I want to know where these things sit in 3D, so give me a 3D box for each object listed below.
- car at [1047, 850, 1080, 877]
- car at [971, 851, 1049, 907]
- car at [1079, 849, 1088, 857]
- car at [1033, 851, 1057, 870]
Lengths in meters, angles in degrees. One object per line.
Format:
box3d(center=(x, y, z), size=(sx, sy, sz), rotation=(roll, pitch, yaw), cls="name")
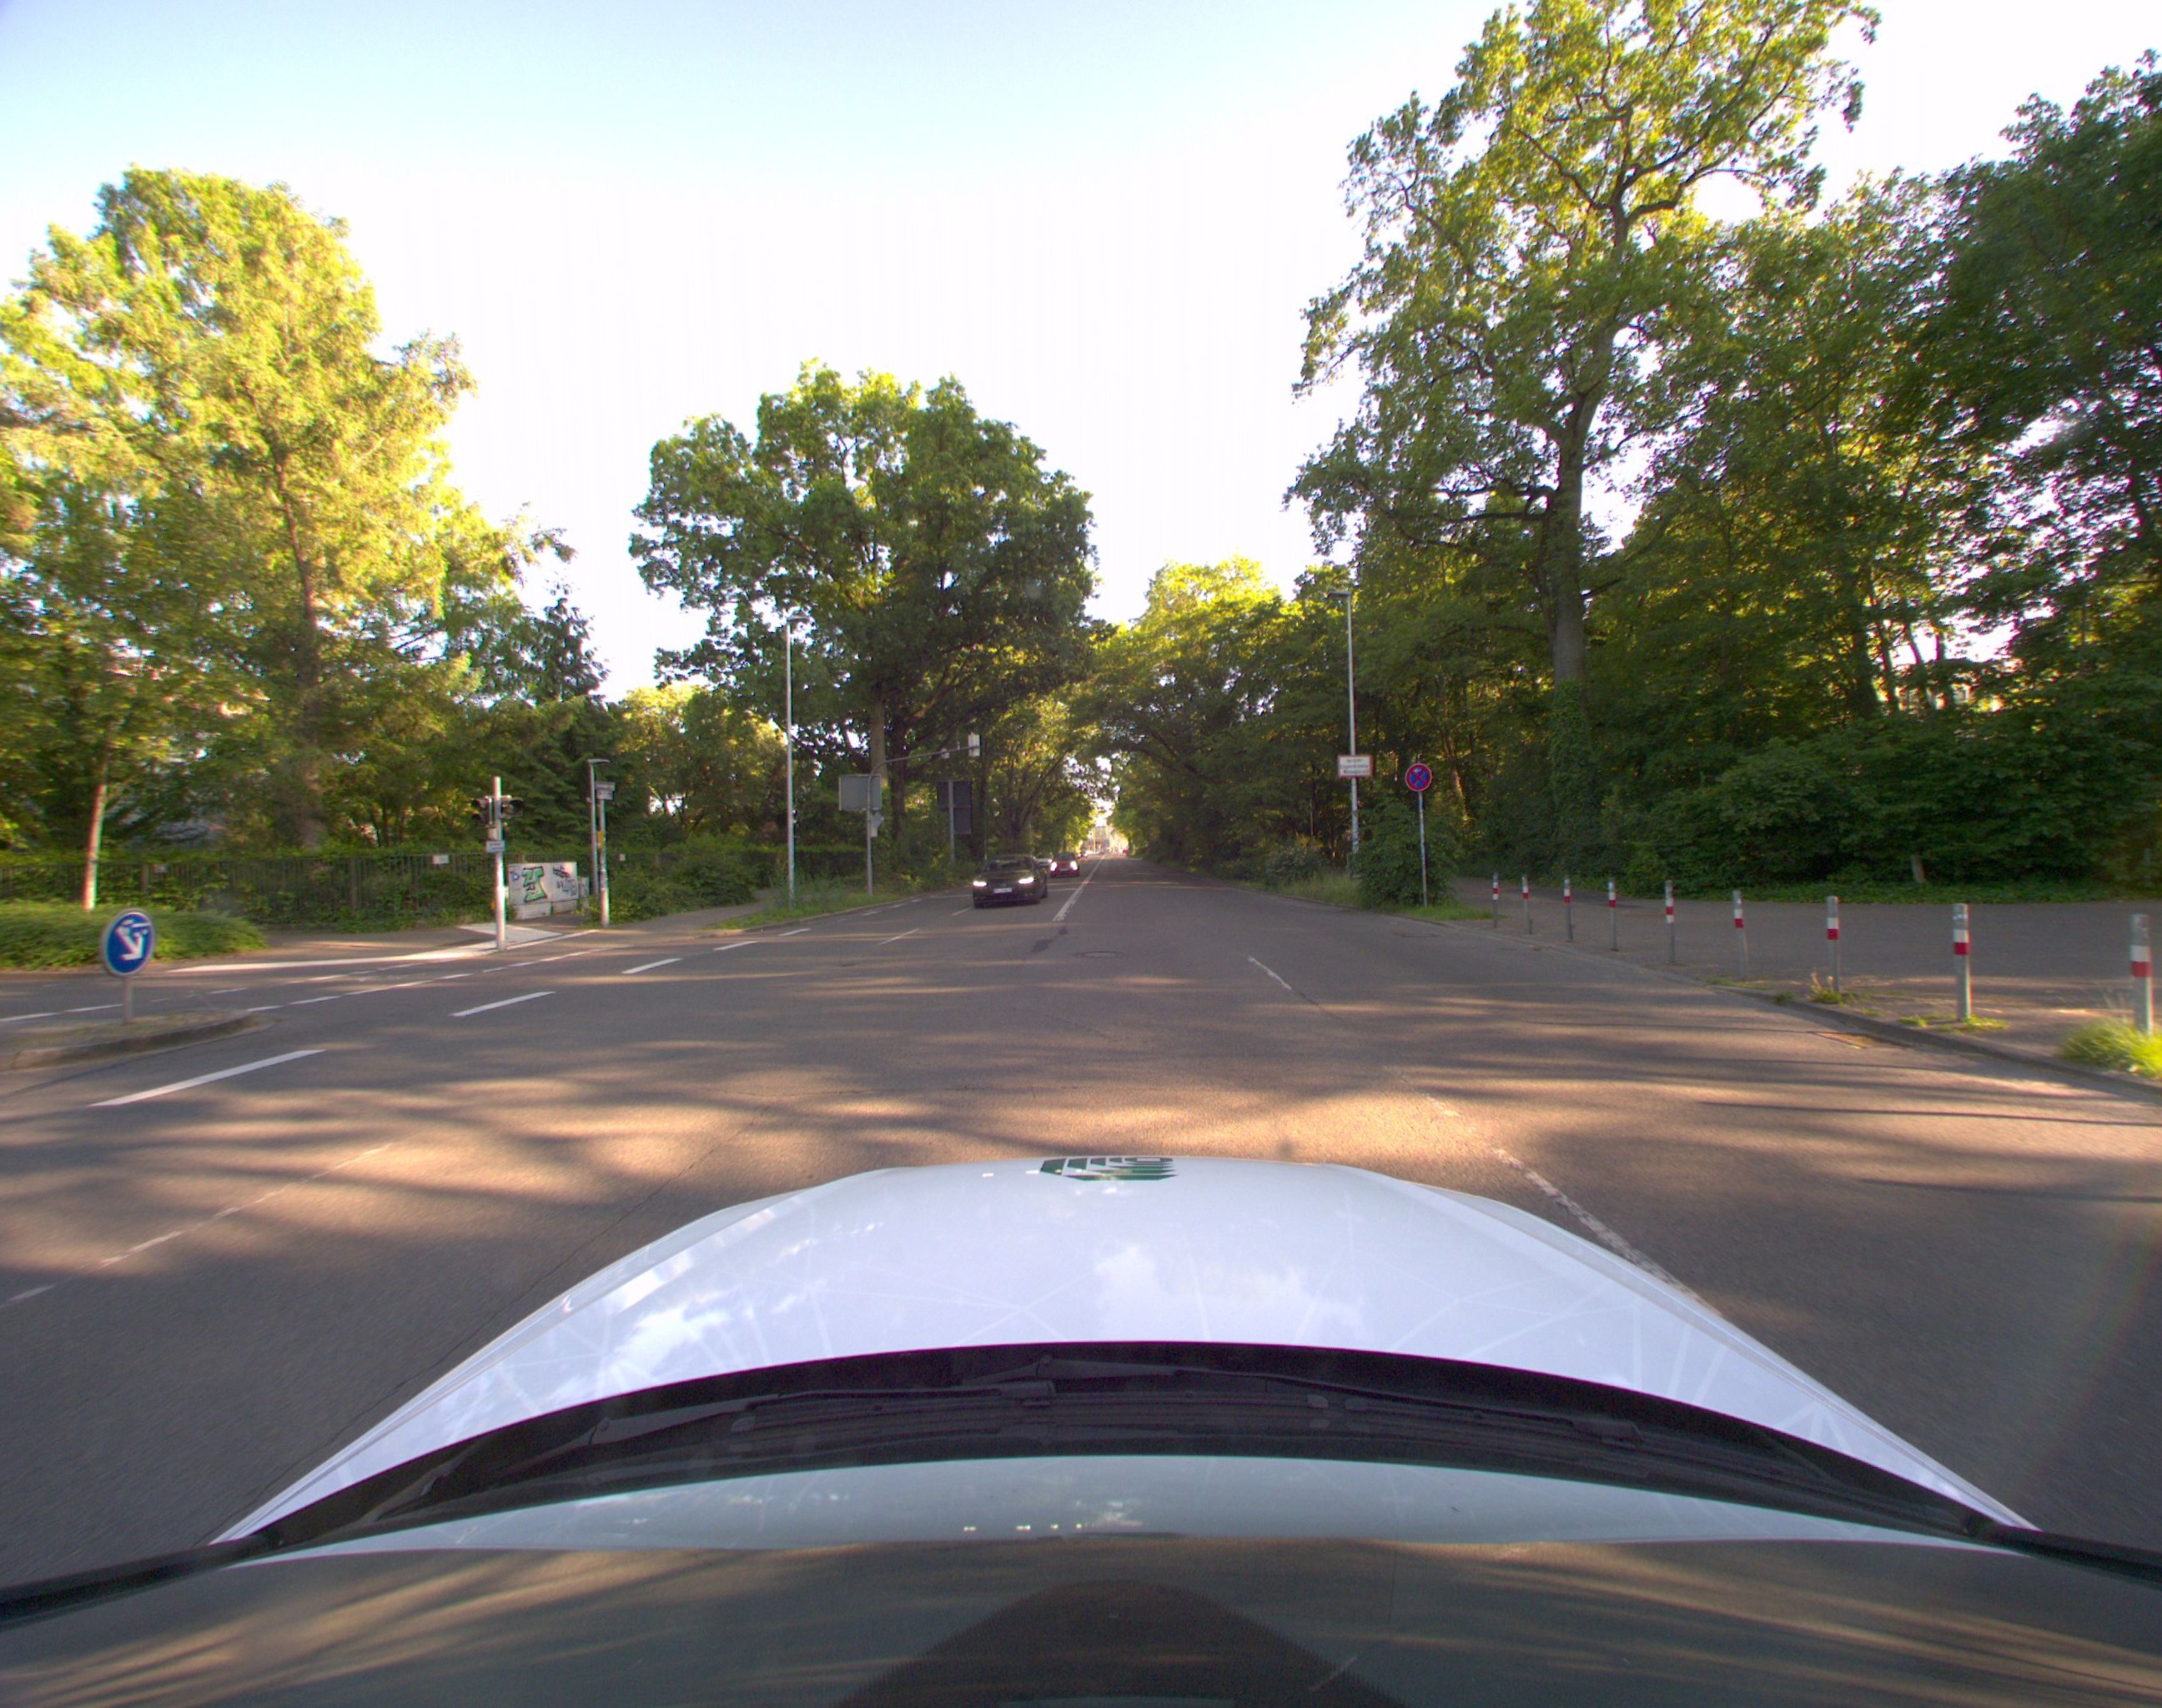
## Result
box3d(center=(-0.999, 0.542, 49.604), size=(1.791, 1.506, 4.365), rotation=(-2, 0, 1), cls="car")
box3d(center=(-2.081, 0.711, 25.121), size=(1.881, 1.506, 4.365), rotation=(-2, 0, 1), cls="car")
box3d(center=(0.495, -0.145, 167.402), size=(1.791, 1.506, 4.365), rotation=(-2, 0, 1), cls="car")
box3d(center=(-3.098, 0.548, 70.675), size=(1.791, 1.506, 4.365), rotation=(-2, 0, 1), cls="car")
